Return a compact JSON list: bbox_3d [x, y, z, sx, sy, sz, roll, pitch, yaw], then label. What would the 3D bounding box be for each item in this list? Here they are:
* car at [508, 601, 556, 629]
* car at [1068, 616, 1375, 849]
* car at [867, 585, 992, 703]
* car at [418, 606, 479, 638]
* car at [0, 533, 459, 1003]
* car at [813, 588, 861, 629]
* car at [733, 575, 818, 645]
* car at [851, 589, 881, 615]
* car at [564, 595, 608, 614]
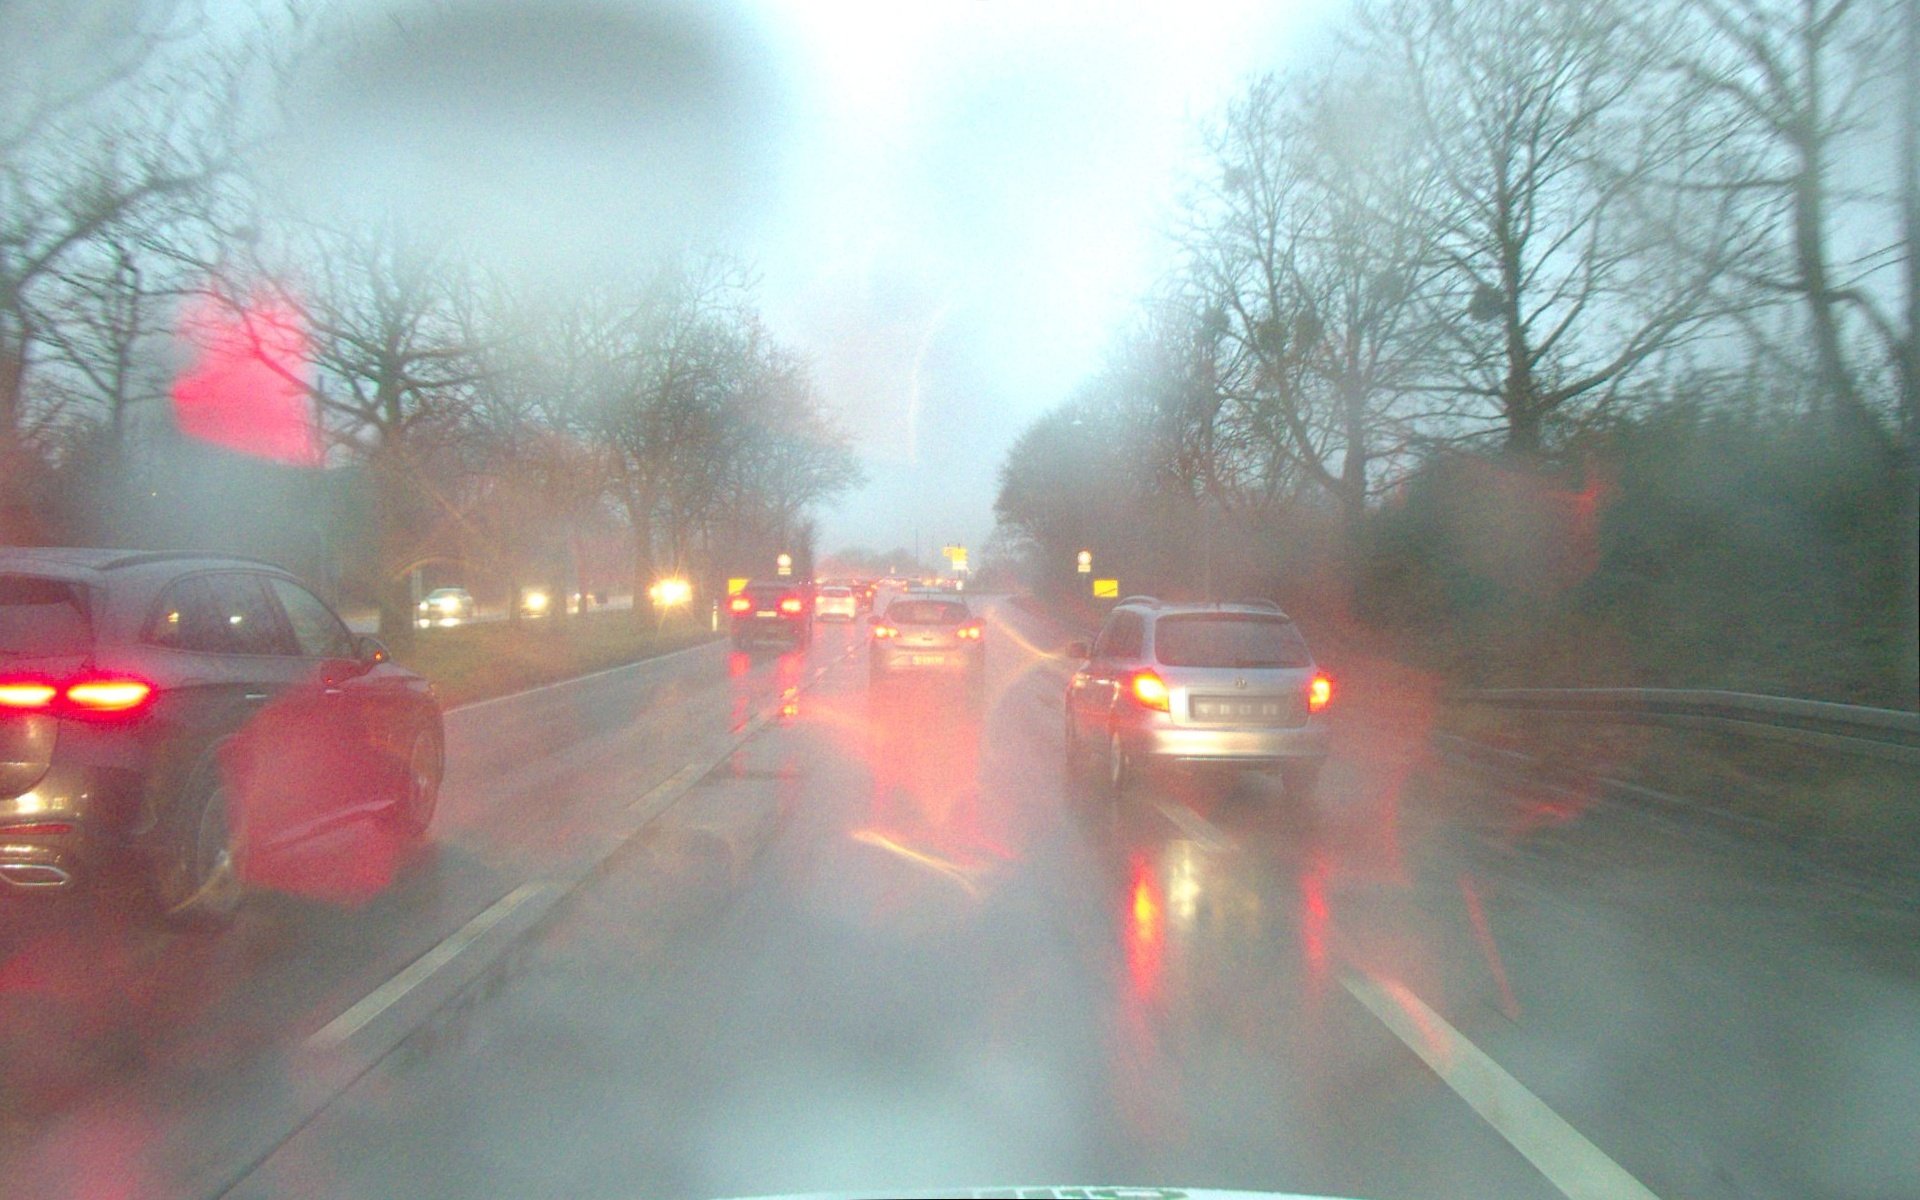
[{"bbox_3d":[-21.808,0.745,84.349,1.605,1.363,3.997,1,0,-4],"label":"car"},{"bbox_3d":[2.082,1.017,14.473,1.894,1.677,4.465,1,-1,-1],"label":"car"},{"bbox_3d":[-0.476,0.679,26.387,1.785,1.677,4.465,1,-1,-1],"label":"car"},{"bbox_3d":[-25.407,1.080,82.233,1.716,1.508,4.197,0,0,0],"label":"car"},{"bbox_3d":[-3.942,0.617,8.113,1.786,1.677,4.464,0,0,-3],"label":"car"},{"bbox_3d":[-5.122,0.362,69.359,1.785,1.677,3.999,0,0,-1],"label":"car"},{"bbox_3d":[-4.642,0.255,42.126,1.785,1.677,3.999,0,0,-1],"label":"car"},{"bbox_3d":[-5.106,0.116,90.583,1.474,1.362,3.999,0,0,-1],"label":"car"},{"bbox_3d":[-24.898,0.303,110.205,1.953,1.212,3.999,1,-1,0],"label":"car"}]
